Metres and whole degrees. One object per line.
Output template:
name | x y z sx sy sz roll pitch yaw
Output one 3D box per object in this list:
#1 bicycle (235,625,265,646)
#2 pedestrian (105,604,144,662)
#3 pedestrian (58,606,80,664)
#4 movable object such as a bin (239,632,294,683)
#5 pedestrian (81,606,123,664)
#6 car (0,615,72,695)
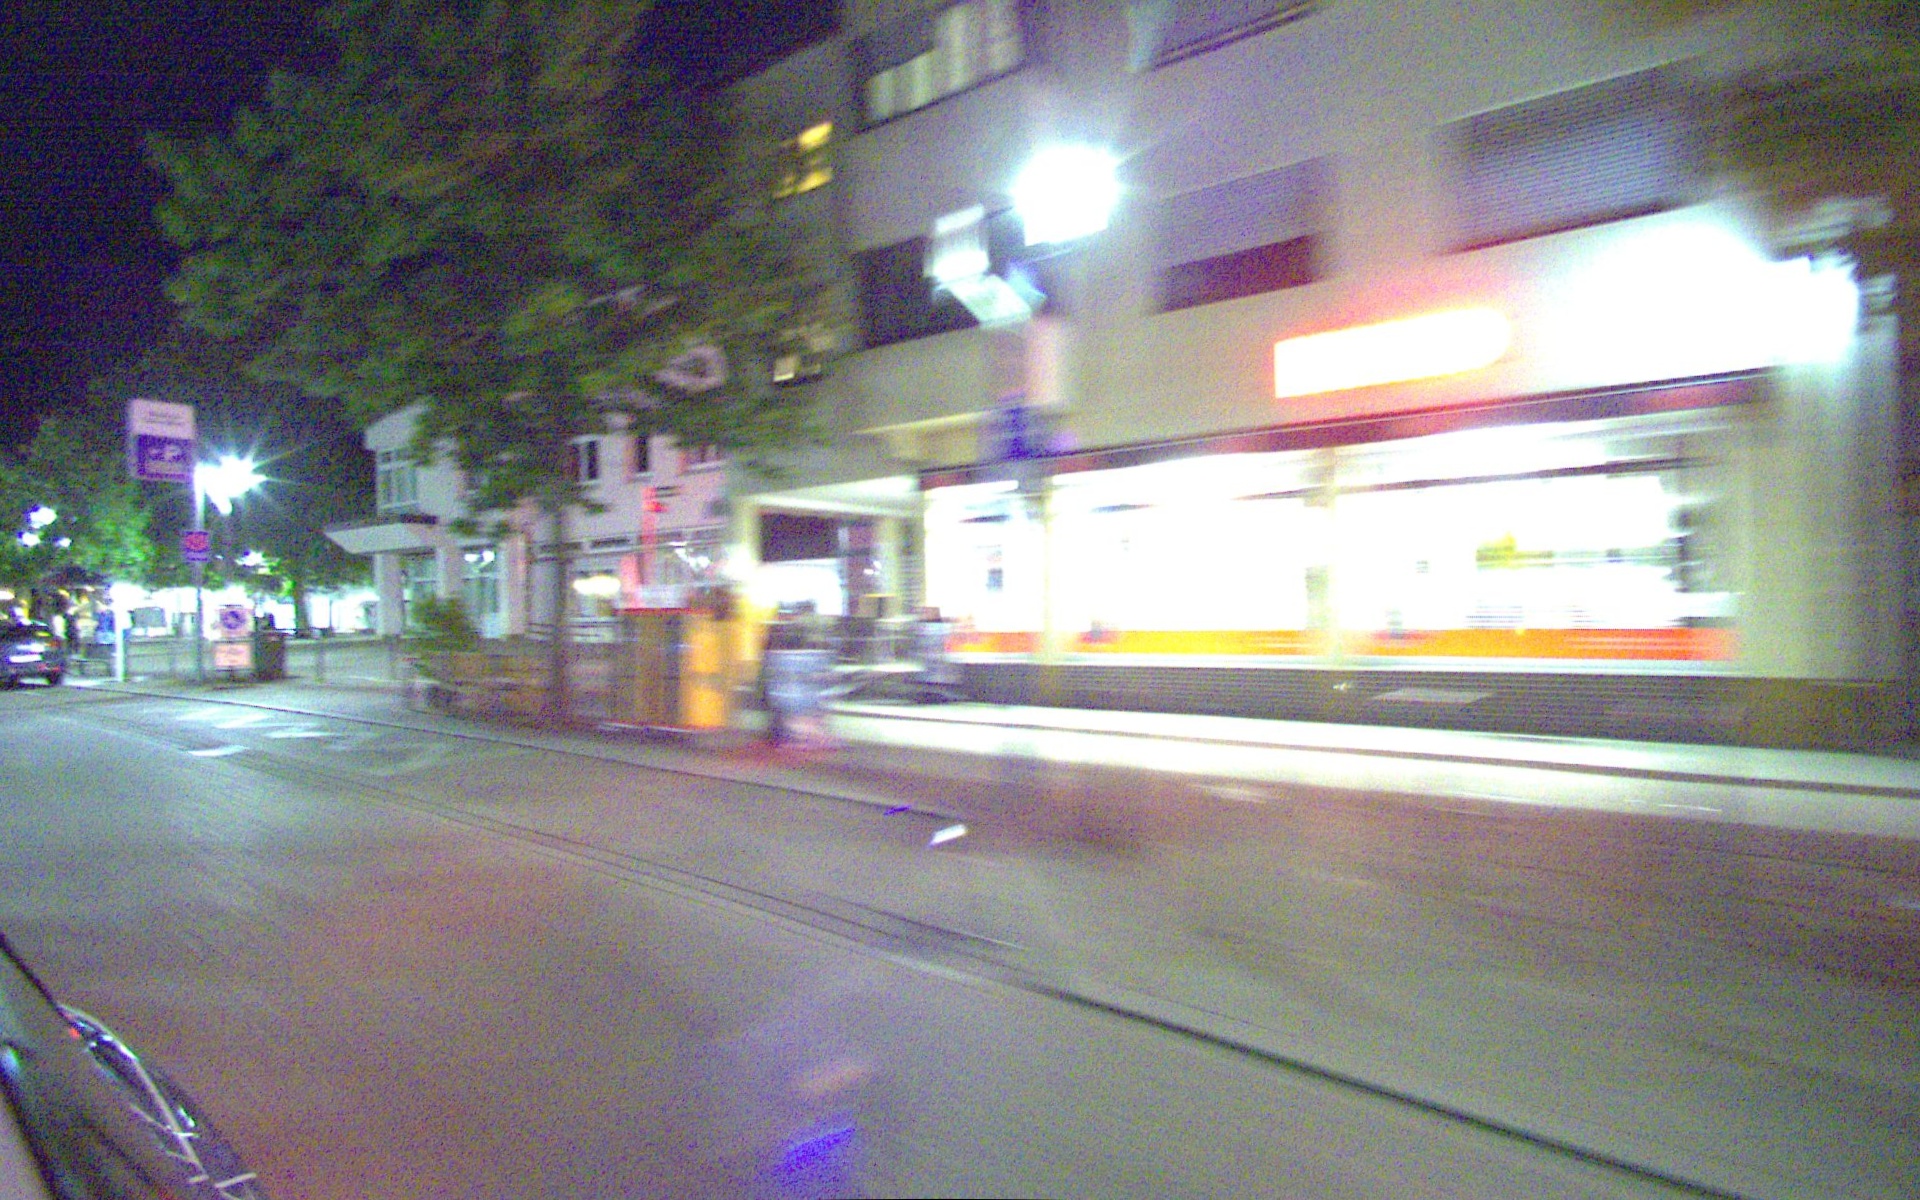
bicycle | -49.152 2.473 70.025 2.501 1.374 0.767 0 0 31
pedestrian | -27.156 1.054 32.901 0.781 1.831 1.026 -2 1 -31
pedestrian | -28.306 1.103 32.153 0.494 1.835 0.504 0 0 -40
movable object such as a bin | -15.165 1.246 22.134 0.790 1.073 0.741 0 0 32
pedestrian | -27.882 1.118 32.906 0.866 1.845 0.793 -2 1 -32
car | -21.723 1.186 22.419 4.797 1.650 1.746 -1 -1 31
